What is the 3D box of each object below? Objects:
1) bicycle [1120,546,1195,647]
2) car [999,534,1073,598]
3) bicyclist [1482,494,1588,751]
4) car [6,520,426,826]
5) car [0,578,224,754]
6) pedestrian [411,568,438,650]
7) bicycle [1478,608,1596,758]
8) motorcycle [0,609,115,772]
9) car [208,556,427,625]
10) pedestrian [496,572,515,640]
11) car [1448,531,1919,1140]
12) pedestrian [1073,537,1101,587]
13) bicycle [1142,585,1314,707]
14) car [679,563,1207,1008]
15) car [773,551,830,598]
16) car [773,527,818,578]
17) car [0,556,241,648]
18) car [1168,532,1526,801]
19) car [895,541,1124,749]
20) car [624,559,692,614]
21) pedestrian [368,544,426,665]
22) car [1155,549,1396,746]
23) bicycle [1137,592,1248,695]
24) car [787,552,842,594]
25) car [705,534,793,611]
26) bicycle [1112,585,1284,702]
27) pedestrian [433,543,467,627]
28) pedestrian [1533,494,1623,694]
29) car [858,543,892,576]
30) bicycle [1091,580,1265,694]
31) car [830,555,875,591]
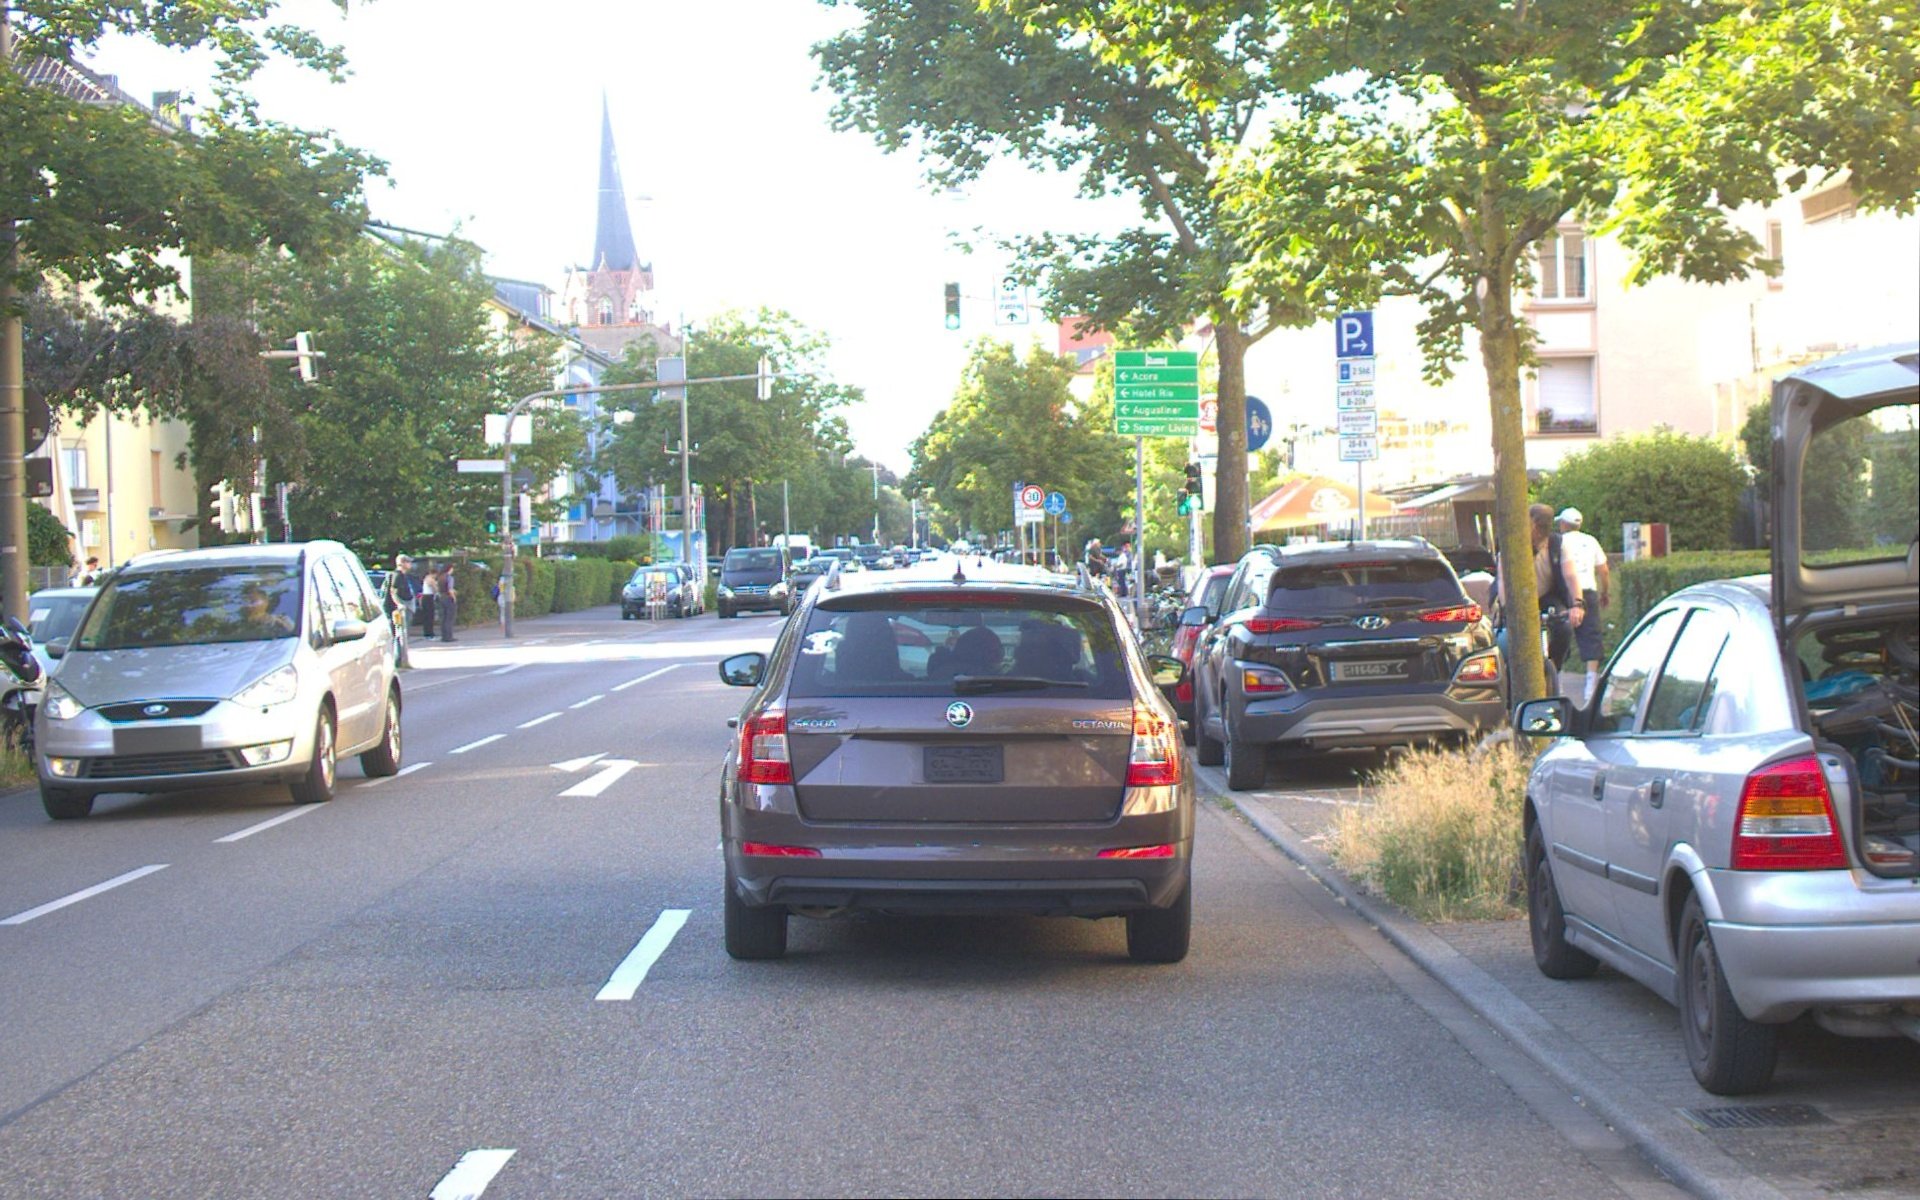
[{"bbox_3d":[2.322,-0.043,40.615,0.501,1.143,1.959,-4,0,-6],"label":"bicycle"},{"bbox_3d":[2.198,-0.971,98.212,1.994,1.766,4.000,1,1,3],"label":"car"},{"bbox_3d":[4.080,0.152,24.442,0.581,1.782,0.852,-1,1,0],"label":"bicyclist"},{"bbox_3d":[-4.937,0.420,23.488,1.805,1.798,4.746,-3,1,-1],"label":"car"},{"bbox_3d":[-7.982,0.562,31.614,1.593,1.465,3.803,1,1,0],"label":"car"},{"bbox_3d":[-11.713,0.192,75.194,0.449,1.791,0.504,-1,1,0],"label":"pedestrian"},{"bbox_3d":[4.085,0.570,24.433,0.516,0.984,1.831,-1,1,0],"label":"bicycle"},{"bbox_3d":[-7.834,0.723,27.906,2.052,1.260,0.765,-1,1,38],"label":"motorcycle"},{"bbox_3d":[-14.579,-0.229,78.161,4.634,1.530,1.862,0,1,0],"label":"car"},{"bbox_3d":[-10.081,0.132,76.271,0.301,1.499,0.640,-1,1,1],"label":"pedestrian"},{"bbox_3d":[2.751,0.553,10.813,1.708,1.475,4.268,-3,1,-1],"label":"car"},{"bbox_3d":[4.450,-1.330,120.064,0.675,1.698,0.800,-1,1,26],"label":"pedestrian"},{"bbox_3d":[2.506,0.428,32.223,1.570,1.100,0.392,-1,1,1],"label":"bicycle"},{"bbox_3d":[-0.086,0.600,13.708,1.773,1.484,4.311,0,1,-1],"label":"car"},{"bbox_3d":[-5.617,-0.919,122.217,1.830,1.574,4.000,-1,1,0],"label":"car"},{"bbox_3d":[-8.156,-2.345,170.586,1.993,2.469,4.000,-1,1,0],"label":"car"},{"bbox_3d":[-17.593,0.023,72.080,4.634,1.805,1.862,-1,1,0],"label":"car"},{"bbox_3d":[2.517,0.385,23.281,1.856,1.576,4.014,-3,1,-1],"label":"car"},{"bbox_3d":[0.399,0.317,28.321,1.737,1.565,4.000,1,1,1],"label":"car"},{"bbox_3d":[-8.235,-0.380,93.992,1.522,1.452,3.585,-1,1,0],"label":"car"},{"bbox_3d":[-9.363,0.070,57.205,0.780,1.981,0.821,-1,1,0],"label":"pedestrian"},{"bbox_3d":[2.549,0.340,28.555,1.703,1.445,4.013,-3,1,2],"label":"car"},{"bbox_3d":[2.492,0.457,36.735,0.619,1.048,1.571,-1,1,26],"label":"bicycle"},{"bbox_3d":[-5.843,-1.092,138.597,1.993,1.605,4.000,-1,1,1],"label":"car"},{"bbox_3d":[-5.598,-0.743,91.704,1.993,1.902,4.964,-3,1,-1],"label":"car"},{"bbox_3d":[2.464,0.446,35.466,1.687,1.104,0.517,-3,0,6],"label":"bicycle"},{"bbox_3d":[-11.113,-0.331,74.855,0.616,1.791,0.504,-1,1,0],"label":"pedestrian"},{"bbox_3d":[5.550,-0.056,30.907,0.663,1.743,0.772,-3,0,6],"label":"pedestrian"},{"bbox_3d":[-5.392,-2.573,217.813,1.993,2.007,4.000,-1,1,0],"label":"car"},{"bbox_3d":[2.443,0.408,38.426,1.835,1.153,0.683,-3,0,6],"label":"bicycle"},{"bbox_3d":[-4.722,-1.204,151.351,1.787,1.565,4.000,1,1,1],"label":"car"}]
